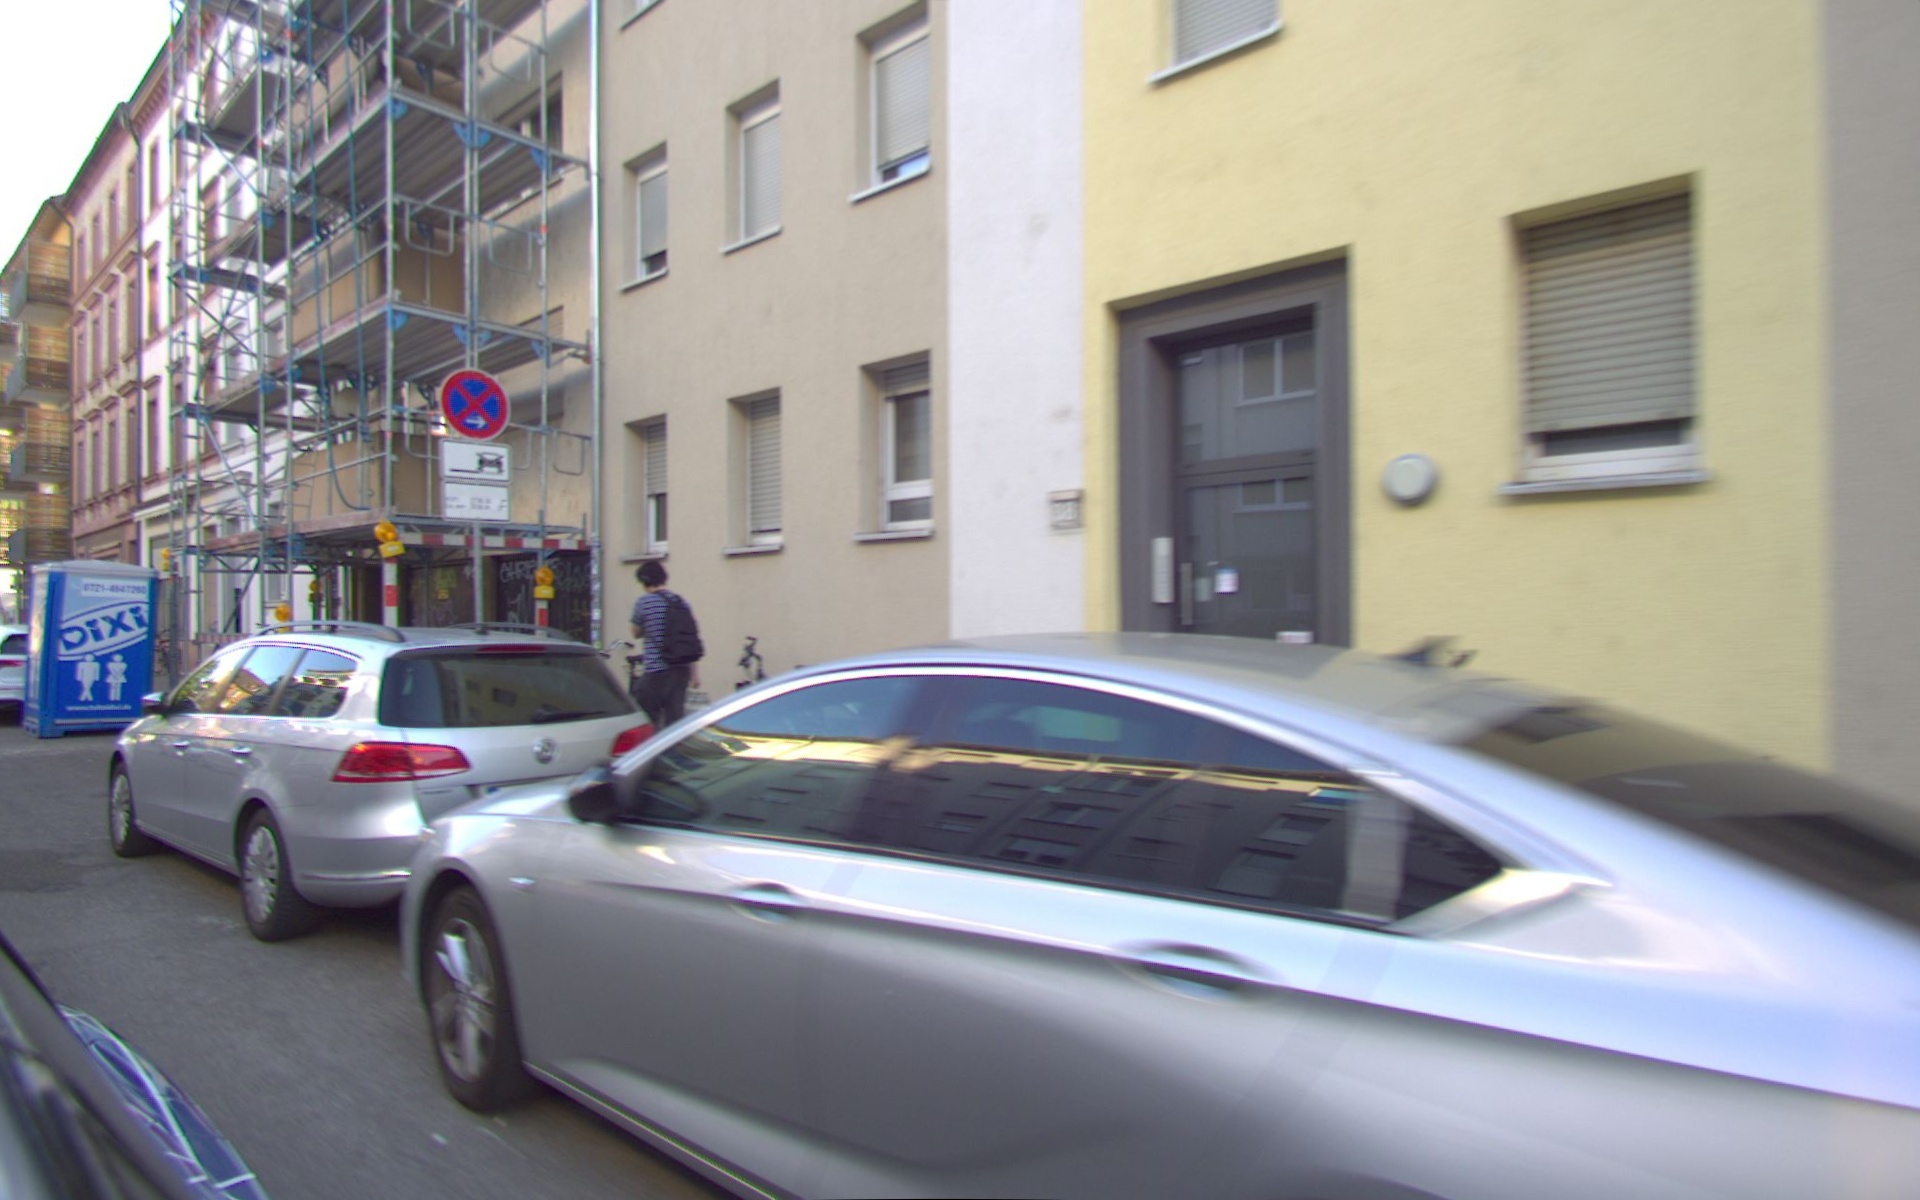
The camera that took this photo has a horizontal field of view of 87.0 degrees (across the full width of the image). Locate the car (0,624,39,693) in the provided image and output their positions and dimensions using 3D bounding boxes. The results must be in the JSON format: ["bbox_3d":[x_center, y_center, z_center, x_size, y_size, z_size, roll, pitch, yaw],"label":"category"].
[{"bbox_3d":[-22.077,1.251,22.359,3.996,1.443,1.974,-1,-3,39],"label":"car"}]

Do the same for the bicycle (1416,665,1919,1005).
[{"bbox_3d":[3.088,0.902,4.406,1.922,1.177,0.604,-1,-3,38],"label":"bicycle"}]

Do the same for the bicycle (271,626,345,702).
[{"bbox_3d":[-10.808,1.030,16.755,1.814,1.177,0.437,-1,2,39],"label":"bicycle"}]

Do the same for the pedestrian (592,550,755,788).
[{"bbox_3d":[-2.328,0.530,8.207,1.091,1.774,0.781,-1,-3,41],"label":"pedestrian"}]

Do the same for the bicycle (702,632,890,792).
[{"bbox_3d":[-1.397,0.874,8.424,1.730,1.177,0.473,-1,2,39],"label":"bicycle"}]

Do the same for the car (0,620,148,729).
[{"bbox_3d":[-14.411,1.076,15.728,3.996,1.516,1.974,-1,-3,39],"label":"car"}]

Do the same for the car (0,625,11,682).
[{"bbox_3d":[-26.093,1.338,26.002,3.996,1.443,1.974,-1,-3,39],"label":"car"}]

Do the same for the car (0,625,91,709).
[{"bbox_3d":[-18.013,1.196,18.940,3.996,1.459,1.974,-1,-3,39],"label":"car"}]

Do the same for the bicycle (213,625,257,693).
[{"bbox_3d":[-13.827,1.092,19.328,0.483,1.177,1.687,-3,2,-31],"label":"bicycle"}]

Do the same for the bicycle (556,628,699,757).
[{"bbox_3d":[-3.384,0.888,10.202,1.814,1.177,0.400,-1,2,39],"label":"bicycle"}]

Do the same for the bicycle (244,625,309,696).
[{"bbox_3d":[-12.222,1.056,18.074,1.814,1.177,0.400,-1,2,39],"label":"bicycle"}]

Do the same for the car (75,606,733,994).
[{"bbox_3d":[-3.603,0.835,6.148,4.612,1.500,1.903,-1,-3,39],"label":"car"}]

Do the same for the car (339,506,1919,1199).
[{"bbox_3d":[0.277,0.716,2.675,4.614,1.500,1.903,-1,-3,40],"label":"car"}]
